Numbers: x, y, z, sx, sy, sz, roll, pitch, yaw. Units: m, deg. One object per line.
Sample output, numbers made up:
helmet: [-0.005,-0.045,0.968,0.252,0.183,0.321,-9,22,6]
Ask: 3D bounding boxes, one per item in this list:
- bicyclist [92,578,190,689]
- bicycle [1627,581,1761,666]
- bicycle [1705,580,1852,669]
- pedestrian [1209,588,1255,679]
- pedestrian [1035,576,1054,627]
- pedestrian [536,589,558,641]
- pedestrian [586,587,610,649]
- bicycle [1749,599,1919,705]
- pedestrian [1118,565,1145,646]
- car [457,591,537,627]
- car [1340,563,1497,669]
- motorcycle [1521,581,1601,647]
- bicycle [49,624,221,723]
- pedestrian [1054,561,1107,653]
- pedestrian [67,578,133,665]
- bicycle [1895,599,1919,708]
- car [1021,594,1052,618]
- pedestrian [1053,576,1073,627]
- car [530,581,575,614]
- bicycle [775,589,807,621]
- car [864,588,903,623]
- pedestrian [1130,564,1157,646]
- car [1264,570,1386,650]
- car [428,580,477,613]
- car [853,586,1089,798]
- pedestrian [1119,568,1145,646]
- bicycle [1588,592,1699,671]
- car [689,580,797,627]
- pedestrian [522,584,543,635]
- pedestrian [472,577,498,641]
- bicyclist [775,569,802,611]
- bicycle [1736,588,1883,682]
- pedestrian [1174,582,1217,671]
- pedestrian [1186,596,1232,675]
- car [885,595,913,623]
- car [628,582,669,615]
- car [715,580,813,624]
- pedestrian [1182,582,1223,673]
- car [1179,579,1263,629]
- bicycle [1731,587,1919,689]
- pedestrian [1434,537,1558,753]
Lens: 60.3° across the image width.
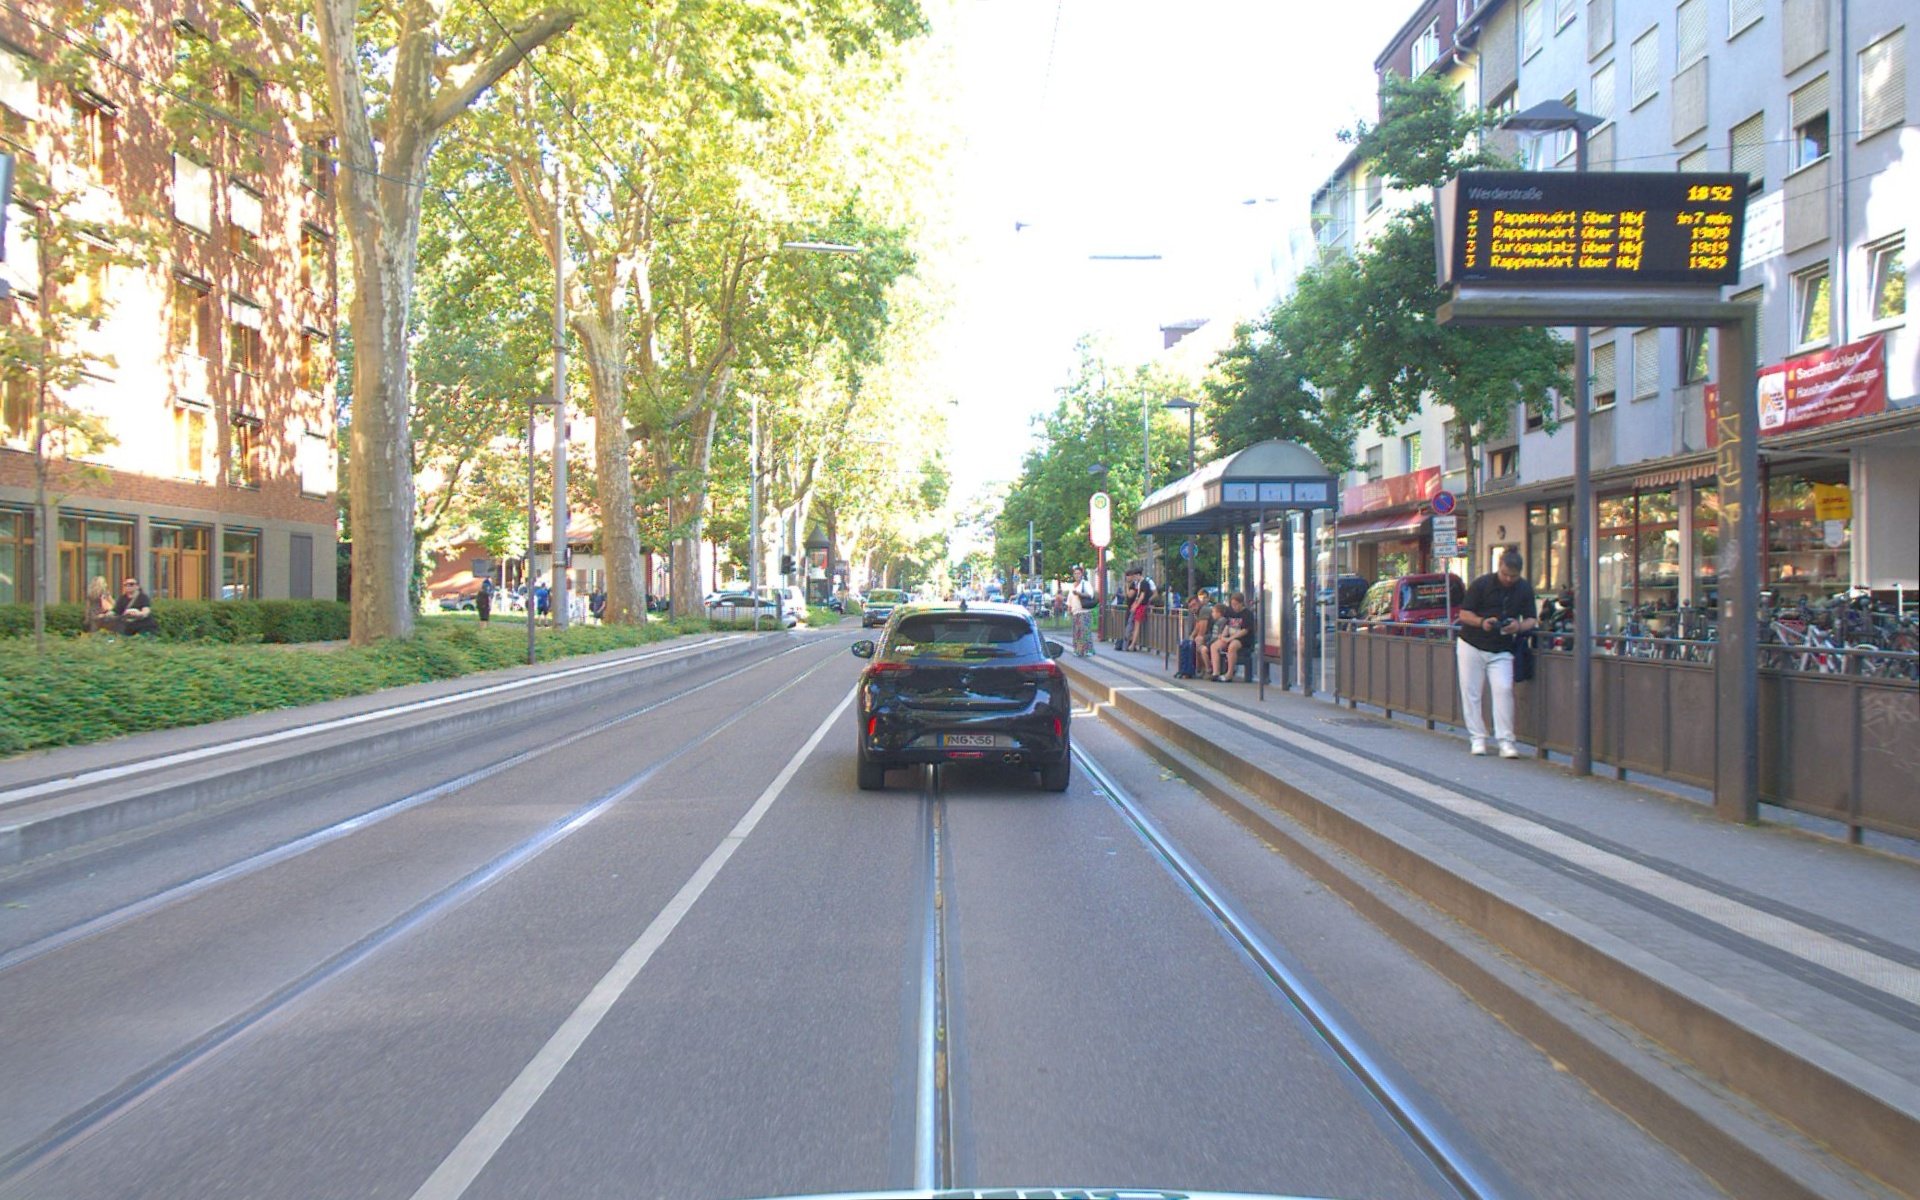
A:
bicyclist: [-11.459,0.457,23.165,0.935,1.518,0.837,1,0,-1]
bicycle: [10.511,0.322,23.767,0.587,1.156,2.197,1,0,-12]
bicycle: [11.222,0.326,22.771,0.587,1.156,2.197,1,0,-12]
pedestrian: [3.839,0.468,23.331,0.523,1.252,0.510,1,-1,-5]
pedestrian: [3.467,0.071,67.817,0.661,2.049,0.701,2,0,5]
pedestrian: [-15.868,0.563,63.557,0.659,1.984,0.497,2,0,-4]
pedestrian: [-11.808,0.590,53.960,0.658,1.984,0.498,1,-1,-1]
bicycle: [10.254,0.571,19.249,0.592,1.156,2.427,1,0,-12]
pedestrian: [3.730,0.114,36.025,0.520,1.739,0.752,1,0,1]
car: [-27.471,0.540,98.253,4.163,2.049,1.999,1,0,-1]
car: [9.149,0.318,33.351,1.953,1.986,3.998,1,0,-2]
motorcycle: [12.372,0.289,34.125,0.874,1.302,2.042,1,0,-1]
bicycle: [-11.449,0.984,23.107,0.935,1.262,2.977,1,0,-1]
pedestrian: [2.325,0.139,31.921,0.736,1.739,0.761,0,-1,34]
pedestrian: [-16.535,0.413,31.831,0.759,1.633,0.946,1,0,-1]
bicycle: [10.679,0.568,16.804,0.610,1.156,2.432,1,0,-12]
car: [5.406,0.445,116.757,1.953,1.661,3.999,1,0,-1]
pedestrian: [4.194,0.053,67.458,0.661,2.049,0.702,2,0,11]
car: [-26.059,-0.135,105.843,1.953,2.049,3.999,1,0,-1]
bicycle: [-7.016,0.207,68.752,0.935,1.262,2.978,1,0,2]
car: [-3.511,0.254,75.742,1.710,1.571,3.998,1,0,-3]
pedestrian: [4.069,0.120,36.629,0.520,1.793,0.661,1,-1,1]
car: [8.782,0.239,40.127,1.953,1.829,3.998,1,0,-2]
car: [-32.410,-0.230,105.745,1.953,2.049,3.999,1,0,-1]
car: [-0.013,0.678,14.019,1.725,1.534,3.681,-1,0,-3]
pedestrian: [3.884,0.149,37.347,0.520,1.739,0.596,1,-1,1]
bicycle: [10.559,0.472,25.632,0.586,1.156,2.201,1,0,-7]
car: [-8.327,0.150,63.564,4.037,1.731,1.880,1,0,-8]
pedestrian: [-16.640,0.370,64.405,0.659,1.984,0.497,2,0,-4]
pedestrian: [-14.857,0.285,51.754,0.486,1.984,0.675,0,-1,11]
bicyclist: [-7.046,-0.405,67.859,0.921,1.732,1.153,1,0,2]
bicycle: [10.972,0.433,21.453,0.403,1.156,2.197,1,0,-12]
pedestrian: [3.538,0.397,24.906,0.523,1.327,0.550,1,-1,-5]
pedestrian: [3.585,0.511,23.846,0.523,1.119,0.550,1,0,-5]
car: [-3.873,0.555,104.707,1.749,1.723,3.998,1,0,-3]
car: [-20.097,-0.092,106.807,1.953,2.049,3.999,1,0,-1]
car: [-8.803,0.102,74.320,4.302,1.884,1.996,1,0,-8]
pedestrian: [3.567,0.403,24.348,0.493,1.327,0.428,1,-1,-5]
car: [8.217,0.126,52.384,1.953,1.512,3.999,1,0,-1]
bicycle: [10.672,0.441,20.261,0.600,1.156,2.913,1,0,-12]
pedestrian: [4.163,0.337,12.900,0.618,1.603,0.870,2,0,-1]
